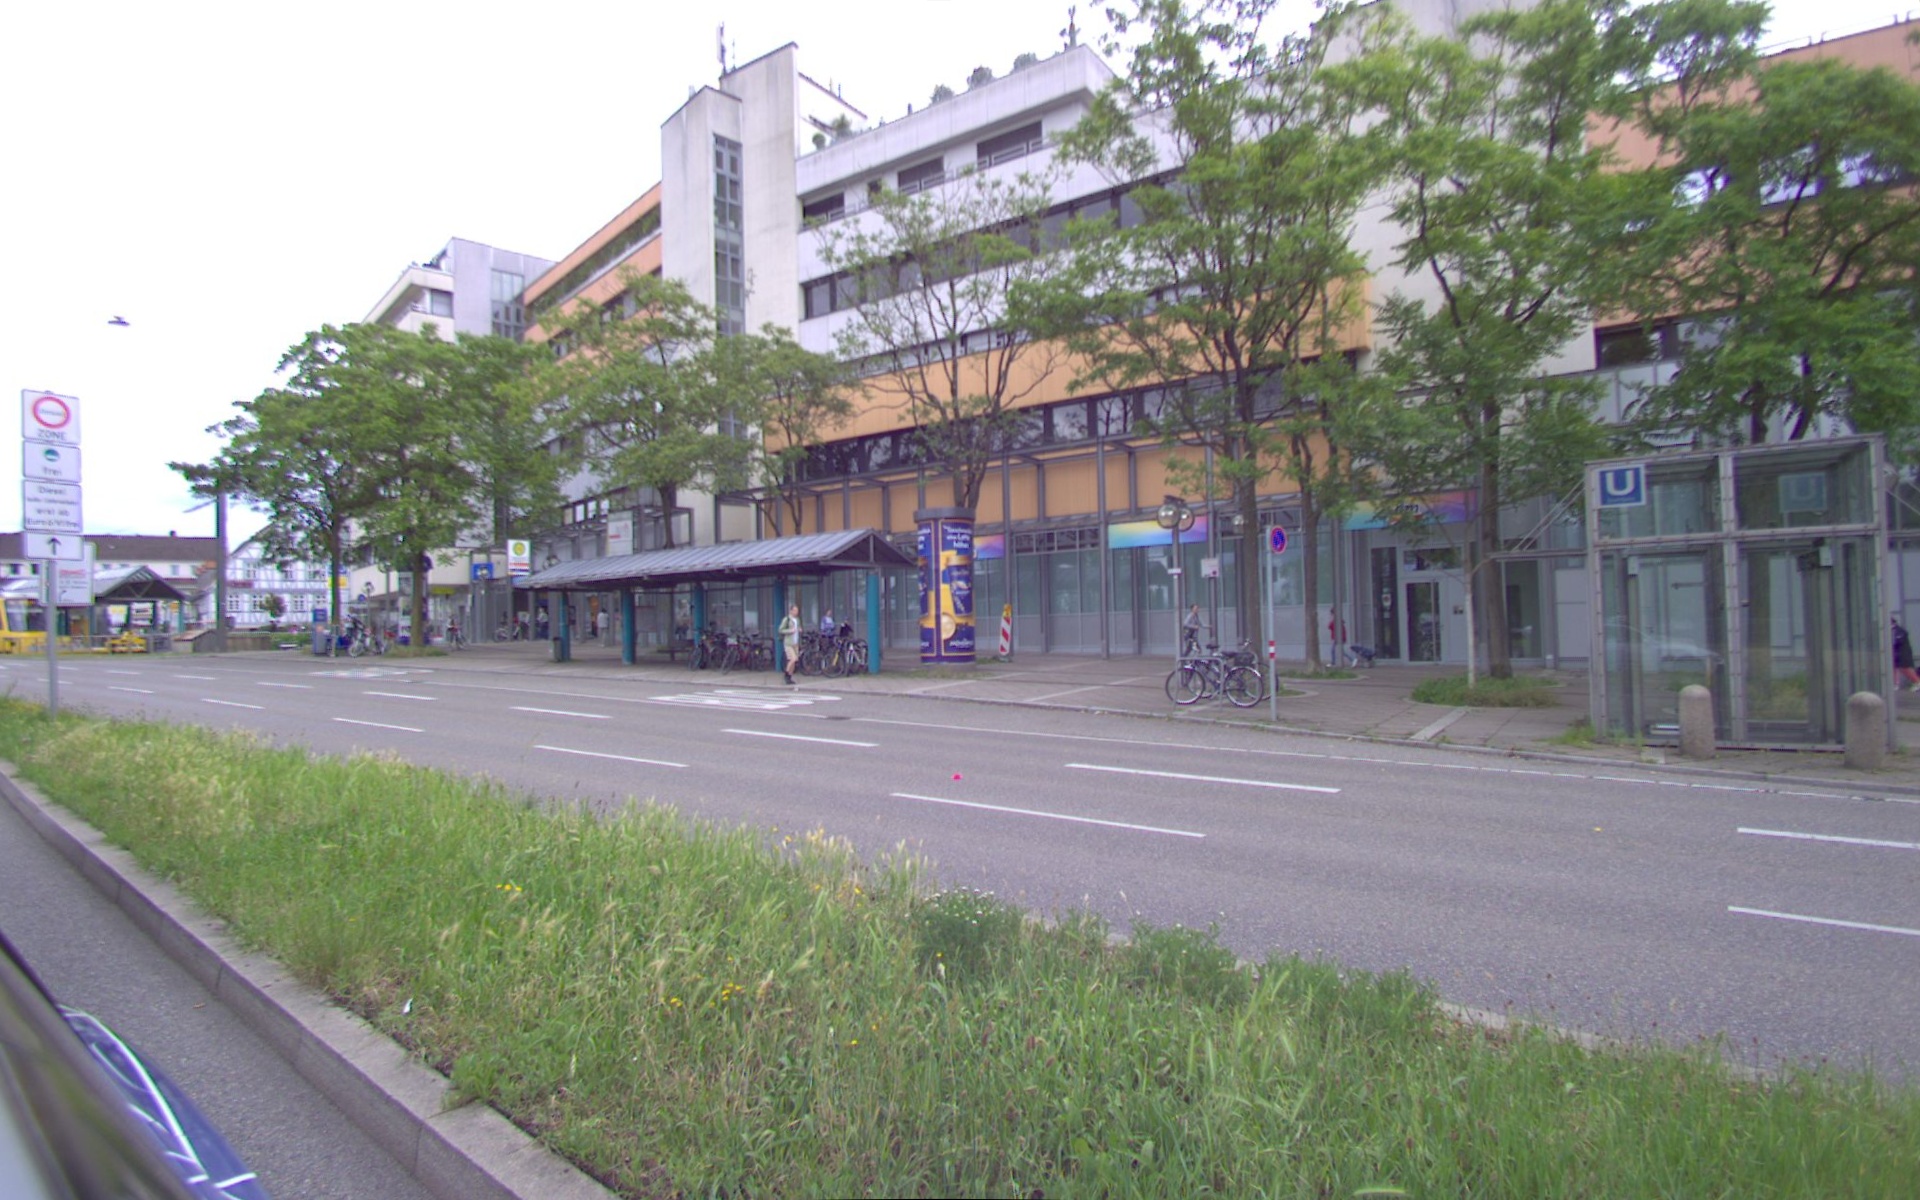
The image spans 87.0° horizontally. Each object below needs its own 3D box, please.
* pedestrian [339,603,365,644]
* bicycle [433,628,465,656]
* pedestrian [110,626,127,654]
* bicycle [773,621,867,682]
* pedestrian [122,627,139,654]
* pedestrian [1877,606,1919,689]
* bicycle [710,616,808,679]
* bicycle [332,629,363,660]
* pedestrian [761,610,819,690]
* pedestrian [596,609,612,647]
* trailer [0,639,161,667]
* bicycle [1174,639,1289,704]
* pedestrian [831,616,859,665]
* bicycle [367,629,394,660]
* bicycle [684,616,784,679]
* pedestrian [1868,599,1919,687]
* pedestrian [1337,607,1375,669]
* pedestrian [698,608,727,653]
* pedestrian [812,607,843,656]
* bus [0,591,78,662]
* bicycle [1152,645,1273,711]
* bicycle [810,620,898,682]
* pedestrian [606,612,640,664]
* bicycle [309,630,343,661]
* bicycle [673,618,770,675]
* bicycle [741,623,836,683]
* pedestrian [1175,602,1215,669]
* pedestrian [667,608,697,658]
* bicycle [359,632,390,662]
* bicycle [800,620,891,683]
[{"bbox_3d":[-28.810,1.116,47.939,0.871,1.891,0.738,-2,-2,32],"label":"pedestrian"},{"bbox_3d":[-21.474,1.759,42.563,0.663,1.170,2.023,-1,-2,-11],"label":"bicycle"},{"bbox_3d":[-48.068,2.290,57.814,0.618,1.585,0.594,-2,-2,30],"label":"pedestrian"},{"bbox_3d":[-3.599,1.304,26.403,0.776,1.518,2.876,-2,-2,32],"label":"bicycle"},{"bbox_3d":[-48.192,2.347,58.812,0.618,1.585,0.594,-2,-2,30],"label":"pedestrian"},{"bbox_3d":[18.535,0.923,19.853,0.678,1.601,0.513,-2,-2,32],"label":"pedestrian"},{"bbox_3d":[-5.424,1.250,27.510,0.809,1.518,2.876,-2,0,33],"label":"bicycle"},{"bbox_3d":[-24.159,1.757,39.933,0.594,1.170,1.971,0,-2,-18],"label":"bicycle"},{"bbox_3d":[-4.053,1.174,24.076,1.212,1.836,0.697,-1,1,37],"label":"pedestrian"},{"bbox_3d":[-15.403,1.219,43.787,0.623,1.612,0.625,-2,0,-20],"label":"pedestrian"},{"bbox_3d":[-47.036,2.831,53.751,12.072,1.343,2.822,-2,-2,29],"label":"trailer"},{"bbox_3d":[5.025,1.307,18.763,1.946,1.145,0.709,-2,-2,26],"label":"bicycle"},{"bbox_3d":[-3.898,1.358,34.253,0.621,1.612,0.627,-2,0,35],"label":"pedestrian"},{"bbox_3d":[-22.807,1.742,39.850,0.594,1.170,1.695,0,-2,-19],"label":"bicycle"},{"bbox_3d":[-6.194,1.280,27.982,0.888,1.518,2.877,-2,1,32],"label":"bicycle"},{"bbox_3d":[18.850,0.856,20.404,0.678,1.740,0.560,-2,-2,32],"label":"pedestrian"},{"bbox_3d":[10.333,0.987,26.403,0.822,1.598,0.629,-1,-2,31],"label":"pedestrian"},{"bbox_3d":[-9.909,1.217,40.530,0.787,1.729,0.764,-2,0,32],"label":"pedestrian"},{"bbox_3d":[-4.428,1.062,33.781,0.705,1.595,0.660,-2,0,35],"label":"pedestrian"},{"bbox_3d":[-60.471,1.765,61.660,19.255,3.889,3.851,-2,-2,29],"label":"bus"},{"bbox_3d":[4.437,1.344,17.828,1.926,1.092,0.825,-2,-2,27],"label":"bicycle"},{"bbox_3d":[-2.667,1.269,25.905,0.597,1.518,2.876,-2,-2,32],"label":"bicycle"},{"bbox_3d":[-11.435,1.279,34.352,0.705,1.725,0.768,-2,0,35],"label":"pedestrian"},{"bbox_3d":[-25.031,1.784,39.976,0.594,1.170,1.971,-2,0,-17],"label":"bicycle"},{"bbox_3d":[-6.909,1.320,29.475,0.969,1.518,2.877,-2,0,32],"label":"bicycle"},{"bbox_3d":[-4.527,1.369,26.968,0.803,1.518,2.876,-2,-2,32],"label":"bicycle"},{"bbox_3d":[6.259,0.942,26.923,0.787,1.729,0.764,-2,0,32],"label":"pedestrian"},{"bbox_3d":[-9.907,1.158,36.072,0.763,1.729,0.789,-2,0,-32],"label":"pedestrian"},{"bbox_3d":[-23.718,1.898,40.996,1.966,1.170,0.596,-3,-3,44],"label":"bicycle"},{"bbox_3d":[-2.899,1.290,26.016,0.698,1.518,2.876,-2,-2,32],"label":"bicycle"}]
